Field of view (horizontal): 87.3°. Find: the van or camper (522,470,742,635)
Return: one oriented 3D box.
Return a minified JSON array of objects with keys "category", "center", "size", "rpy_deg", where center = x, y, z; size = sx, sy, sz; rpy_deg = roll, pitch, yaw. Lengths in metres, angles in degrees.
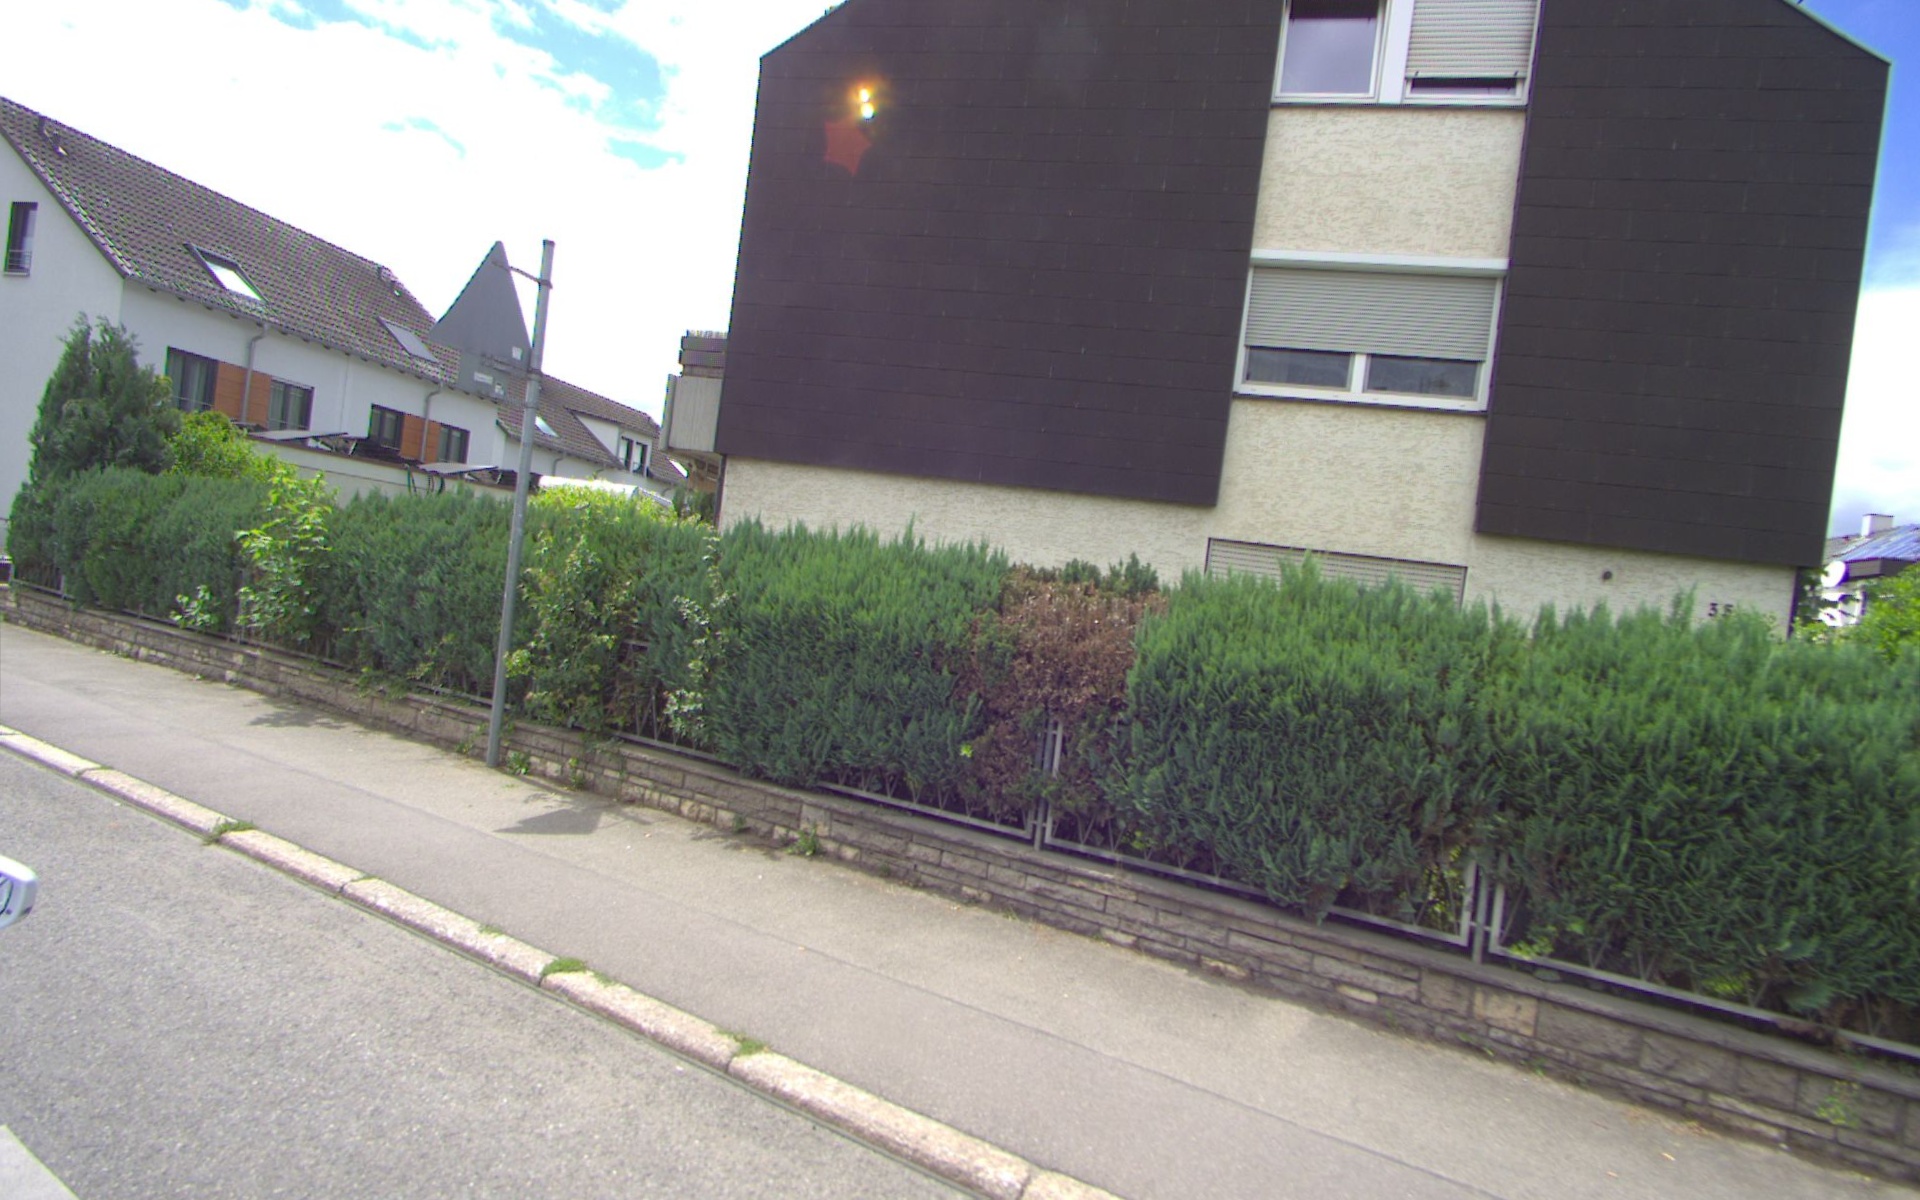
[{"category":"van or camper","center":[-8.437,-0.947,27.311],"size":[2.373,3.339,8.694],"rpy_deg":[7,-2,3]}]
